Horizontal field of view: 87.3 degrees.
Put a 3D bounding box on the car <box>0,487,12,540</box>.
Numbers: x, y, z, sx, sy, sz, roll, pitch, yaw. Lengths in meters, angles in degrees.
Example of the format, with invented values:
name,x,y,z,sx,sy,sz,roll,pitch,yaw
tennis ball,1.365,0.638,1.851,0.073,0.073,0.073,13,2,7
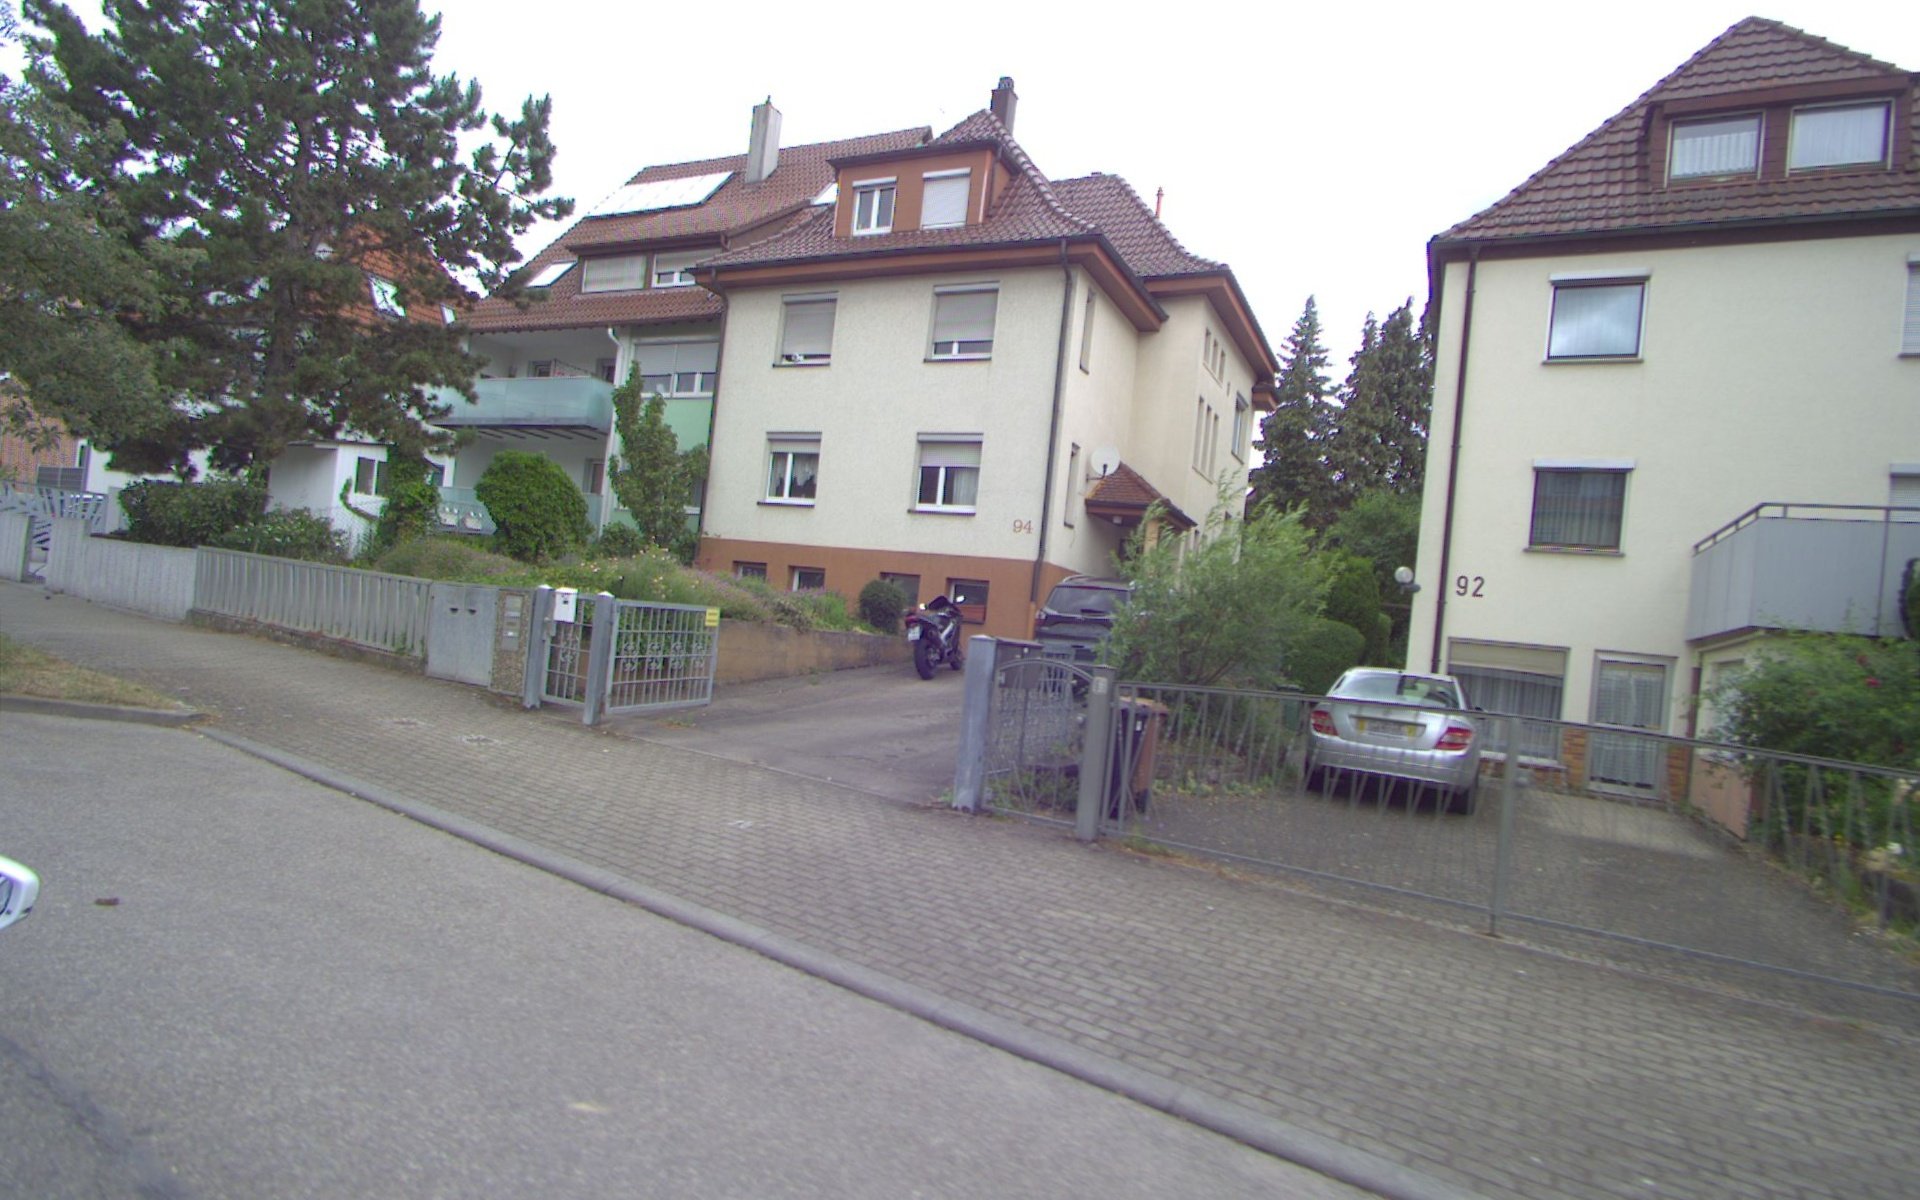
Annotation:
name,x,y,z,sx,sy,sz,roll,pitch,yaw
car,-26.232,-2.306,26.057,1.806,1.399,4.434,4,3,-36

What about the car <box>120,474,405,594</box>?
name,x,y,z,sx,sy,sz,roll,pitch,yaw
car,-14.408,-1.340,20.930,4.634,2.041,1.977,5,3,5

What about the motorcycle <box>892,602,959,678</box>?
name,x,y,z,sx,sy,sz,roll,pitch,yaw
motorcycle,-0.530,0.602,15.763,0.575,1.061,1.222,4,4,20

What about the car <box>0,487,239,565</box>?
name,x,y,z,sx,sy,sz,roll,pitch,yaw
car,-20.612,-1.765,24.849,1.665,1.526,4.267,5,1,24

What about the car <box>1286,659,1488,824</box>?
name,x,y,z,sx,sy,sz,roll,pitch,yaw
car,5.170,1.535,11.859,1.618,1.410,3.994,6,-1,30

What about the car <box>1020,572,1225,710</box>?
name,x,y,z,sx,sy,sz,roll,pitch,yaw
car,2.609,0.489,15.372,1.853,1.727,3.987,4,3,28

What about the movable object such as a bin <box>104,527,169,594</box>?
name,x,y,z,sx,sy,sz,roll,pitch,yaw
movable object such as a bin,-13.876,-0.672,16.961,0.603,1.071,0.593,4,4,10
